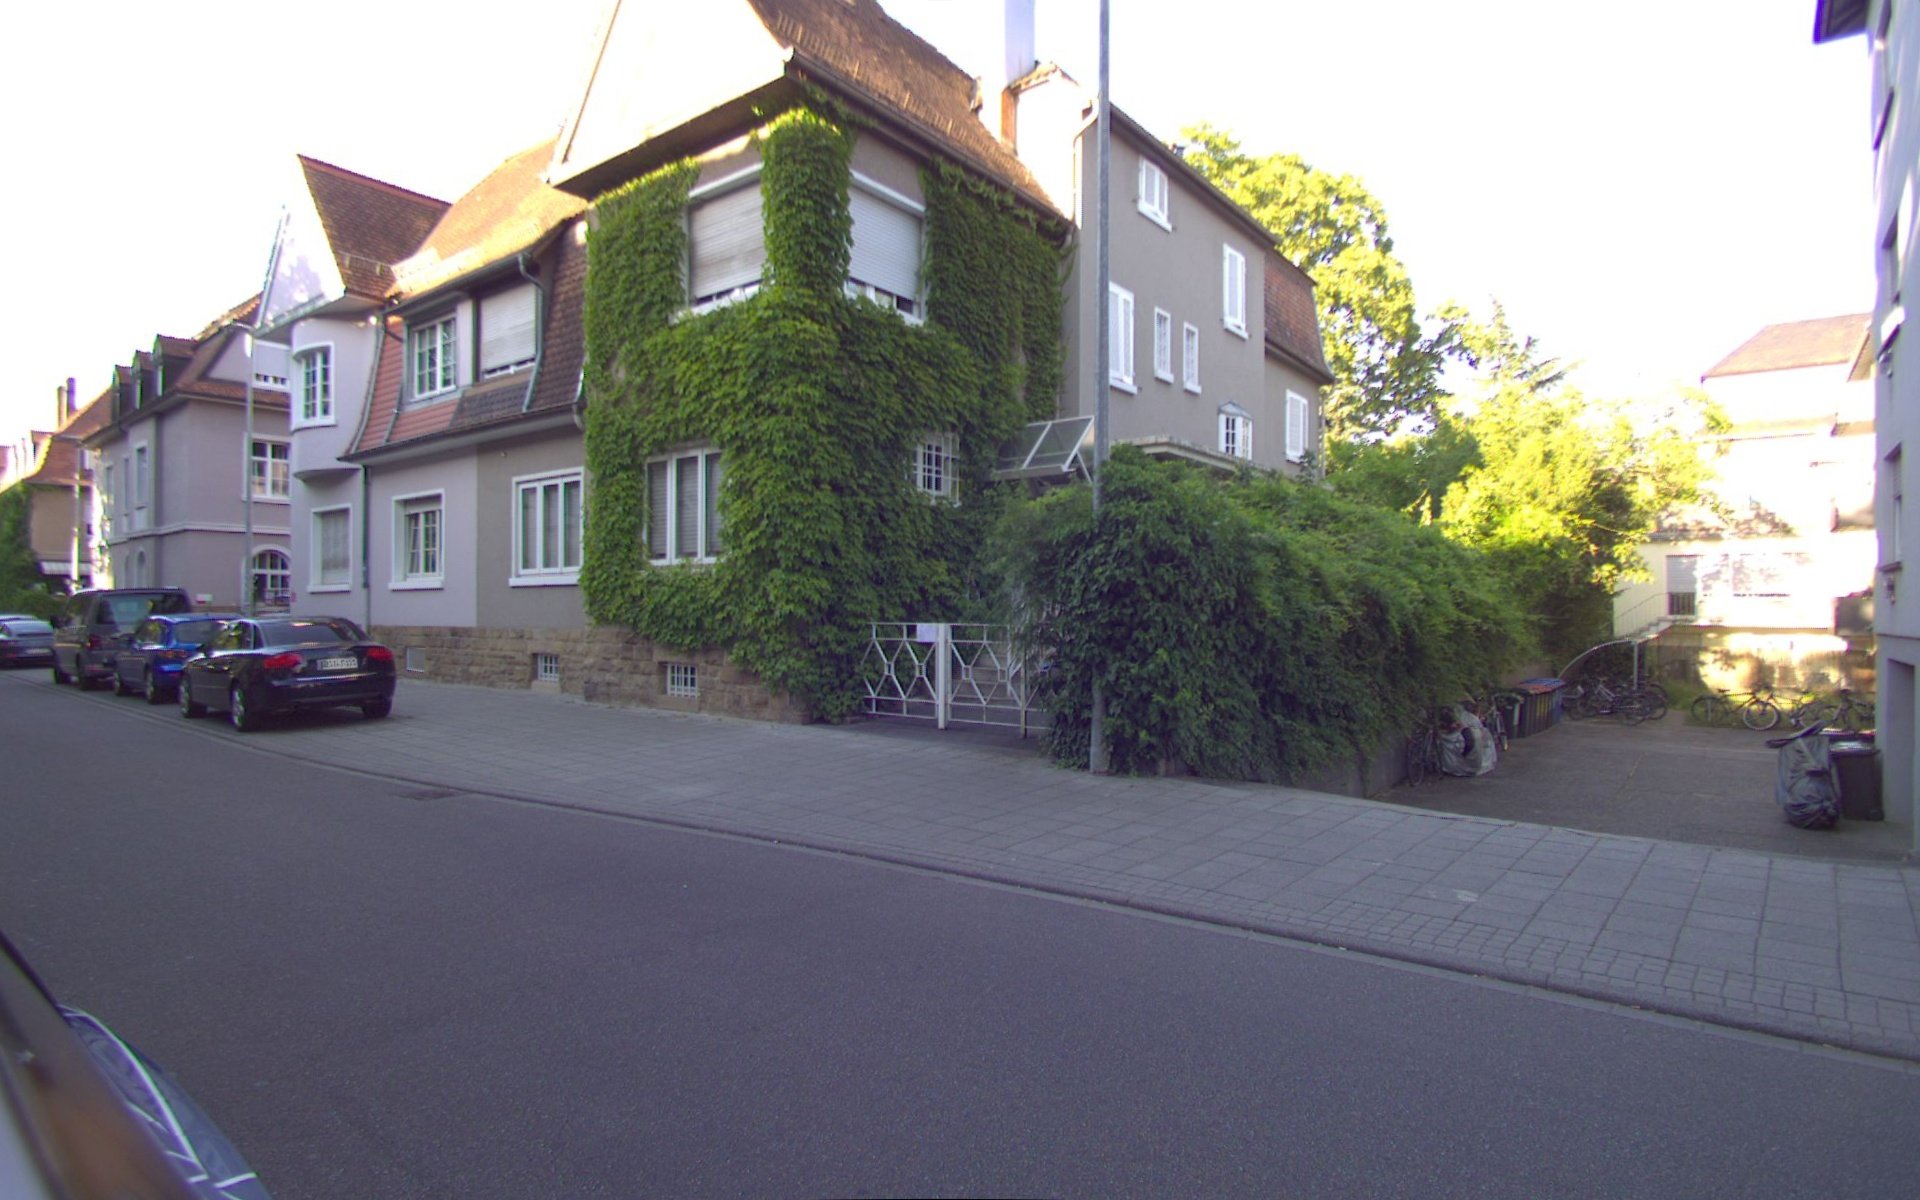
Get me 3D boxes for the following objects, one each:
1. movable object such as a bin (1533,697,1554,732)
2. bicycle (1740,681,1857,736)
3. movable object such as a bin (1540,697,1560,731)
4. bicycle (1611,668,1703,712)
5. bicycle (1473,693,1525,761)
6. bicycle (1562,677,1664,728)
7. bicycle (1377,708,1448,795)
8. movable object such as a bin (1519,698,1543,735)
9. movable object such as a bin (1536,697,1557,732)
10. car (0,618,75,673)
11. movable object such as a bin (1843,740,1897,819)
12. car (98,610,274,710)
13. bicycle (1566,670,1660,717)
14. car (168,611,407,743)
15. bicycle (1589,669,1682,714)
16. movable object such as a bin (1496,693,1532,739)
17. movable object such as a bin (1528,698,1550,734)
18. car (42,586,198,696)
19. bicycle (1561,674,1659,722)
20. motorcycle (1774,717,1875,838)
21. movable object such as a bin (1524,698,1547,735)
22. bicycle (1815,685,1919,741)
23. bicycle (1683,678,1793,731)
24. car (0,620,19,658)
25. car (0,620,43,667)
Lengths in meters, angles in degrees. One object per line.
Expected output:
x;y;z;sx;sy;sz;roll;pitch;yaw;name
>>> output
13.289;2.614;23.055;0.367;0.764;0.359;-1;-4;41;movable object such as a bin
19.563;2.515;23.639;2.068;1.028;0.634;1;3;41;bicycle
13.789;2.666;23.657;0.346;0.764;0.359;-1;-4;41;movable object such as a bin
19.422;2.495;28.239;2.068;1.028;0.561;1;3;41;bicycle
9.961;2.308;18.669;0.514;1.027;1.914;1;0;38;bicycle
16.278;2.536;25.255;2.068;1.028;0.634;1;3;41;bicycle
6.790;2.224;15.143;0.514;1.027;1.914;1;0;38;bicycle
12.507;2.543;22.159;0.398;0.779;0.359;-1;-4;41;movable object such as a bin
13.540;2.632;23.352;0.367;0.764;0.359;-1;-4;41;movable object such as a bin
-26.331;1.238;28.333;4.331;1.381;1.698;-1;1;40;car
11.765;2.304;13.095;0.432;0.894;0.717;-1;-3;37;movable object such as a bin
-13.651;0.965;17.780;4.021;1.475;1.591;0;2;40;car
17.703;2.517;27.469;2.068;1.028;0.608;1;3;41;bicycle
-9.258;0.927;13.814;4.023;1.439;1.729;0;2;42;car
18.621;2.506;27.935;2.068;1.028;0.608;1;3;41;bicycle
11.548;2.413;21.092;0.576;0.886;0.488;0;-3;41;movable object such as a bin
13.026;2.600;22.761;0.375;0.764;0.359;-1;-4;41;movable object such as a bin
-17.442;0.767;20.947;4.308;1.987;1.698;0;2;40;car
16.843;2.528;26.266;2.068;1.028;0.565;1;3;41;bicycle
10.732;2.158;12.617;0.757;1.261;1.575;-1;-3;34;motorcycle
12.771;2.574;22.456;0.381;0.779;0.359;-1;-4;41;movable object such as a bin
20.580;2.533;22.744;2.068;1.028;0.634;1;3;41;bicycle
18.720;2.504;24.389;2.068;1.028;0.634;1;3;41;bicycle
-36.507;1.451;37.662;3.942;1.381;1.698;-1;1;40;car
-30.334;1.342;31.949;3.942;1.381;1.522;-1;0;40;car
